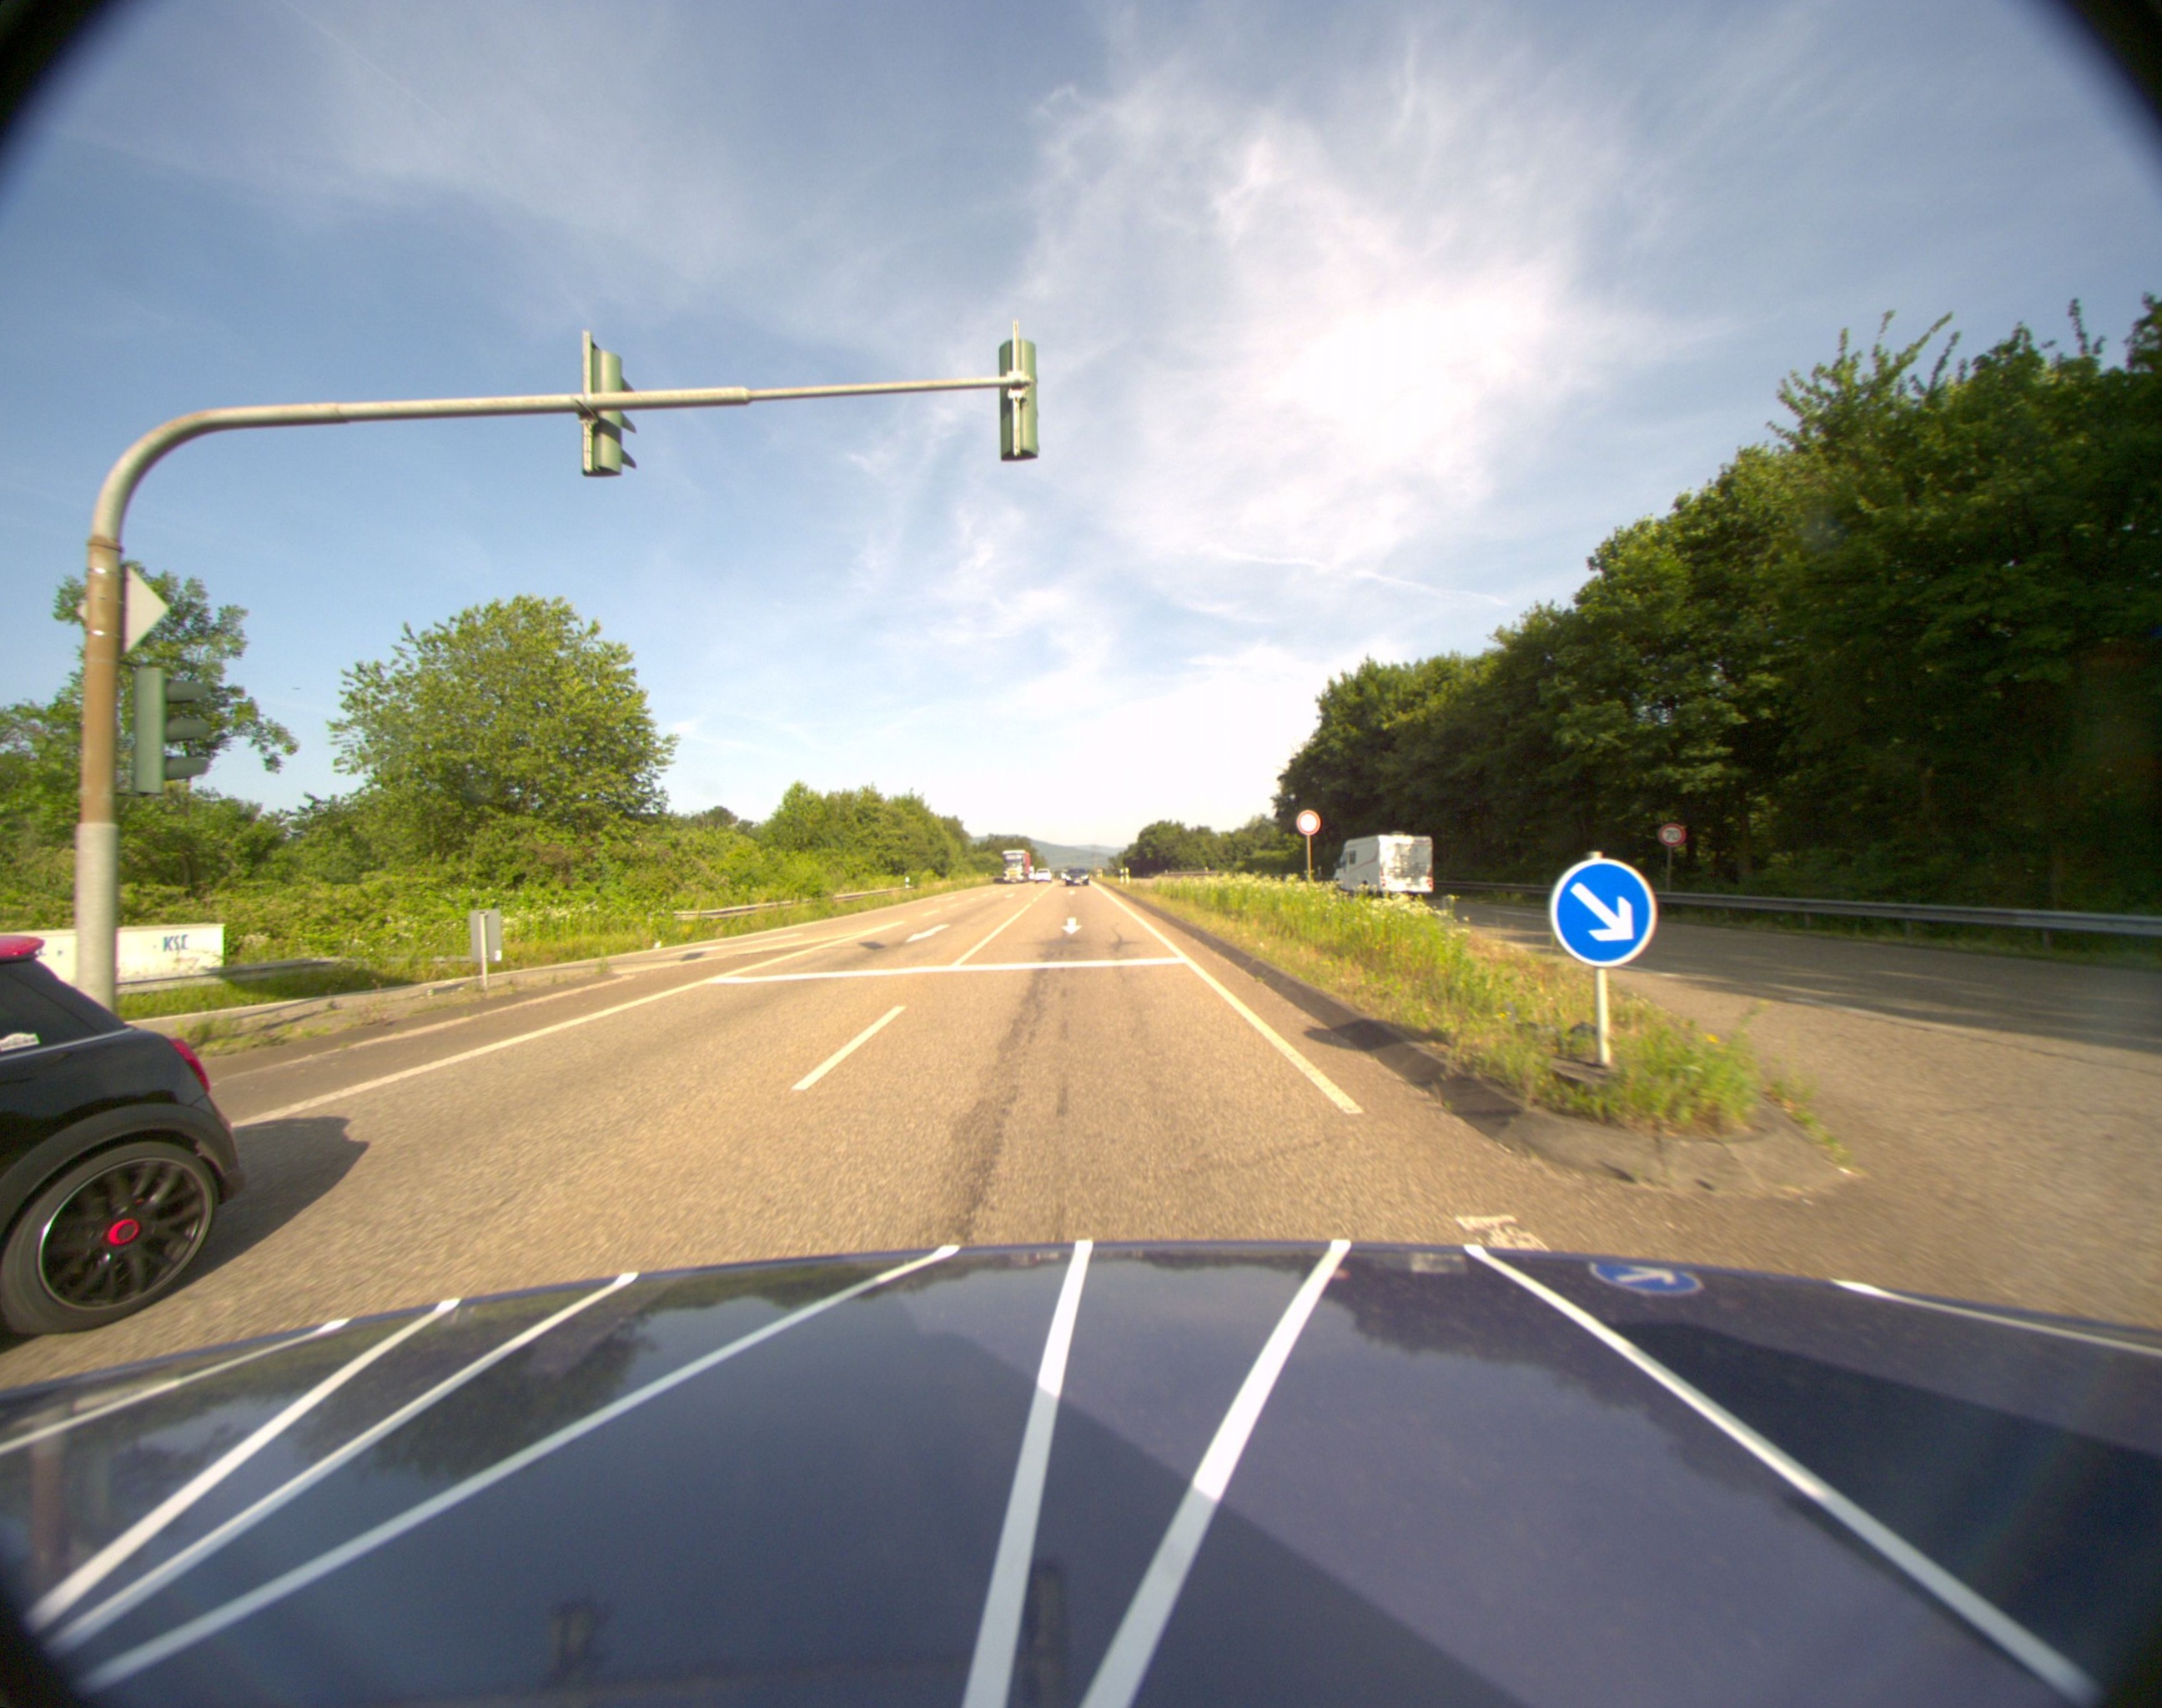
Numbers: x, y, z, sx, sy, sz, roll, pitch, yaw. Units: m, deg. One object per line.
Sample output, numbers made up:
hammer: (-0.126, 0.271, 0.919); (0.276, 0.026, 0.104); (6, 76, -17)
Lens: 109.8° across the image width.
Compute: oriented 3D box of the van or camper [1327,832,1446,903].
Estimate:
van or camper: (12.792, 0.551, 32.408); (2.419, 2.695, 6.437); (1, 0, 0)

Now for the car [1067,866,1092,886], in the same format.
car: (-0.140, 1.731, 60.714); (1.861, 1.452, 4.569); (-3, 0, -1)

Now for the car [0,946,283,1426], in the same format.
car: (-4.432, 1.160, 1.388); (1.824, 1.459, 3.873); (-3, 0, -1)

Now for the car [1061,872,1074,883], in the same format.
car: (-2.319, 3.984, 129.870); (1.999, 1.632, 3.999); (-3, 0, -3)

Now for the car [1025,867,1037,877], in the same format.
car: (-8.616, 3.057, 130.085); (1.875, 1.625, 4.833); (-1, -1, -2)

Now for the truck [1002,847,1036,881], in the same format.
truck: (-7.938, 1.285, 98.557); (3.197, 3.995, 14.563); (-3, 0, -1)

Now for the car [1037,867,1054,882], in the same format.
car: (-4.000, 2.298, 86.128); (1.875, 1.625, 4.833); (-1, -1, -2)
